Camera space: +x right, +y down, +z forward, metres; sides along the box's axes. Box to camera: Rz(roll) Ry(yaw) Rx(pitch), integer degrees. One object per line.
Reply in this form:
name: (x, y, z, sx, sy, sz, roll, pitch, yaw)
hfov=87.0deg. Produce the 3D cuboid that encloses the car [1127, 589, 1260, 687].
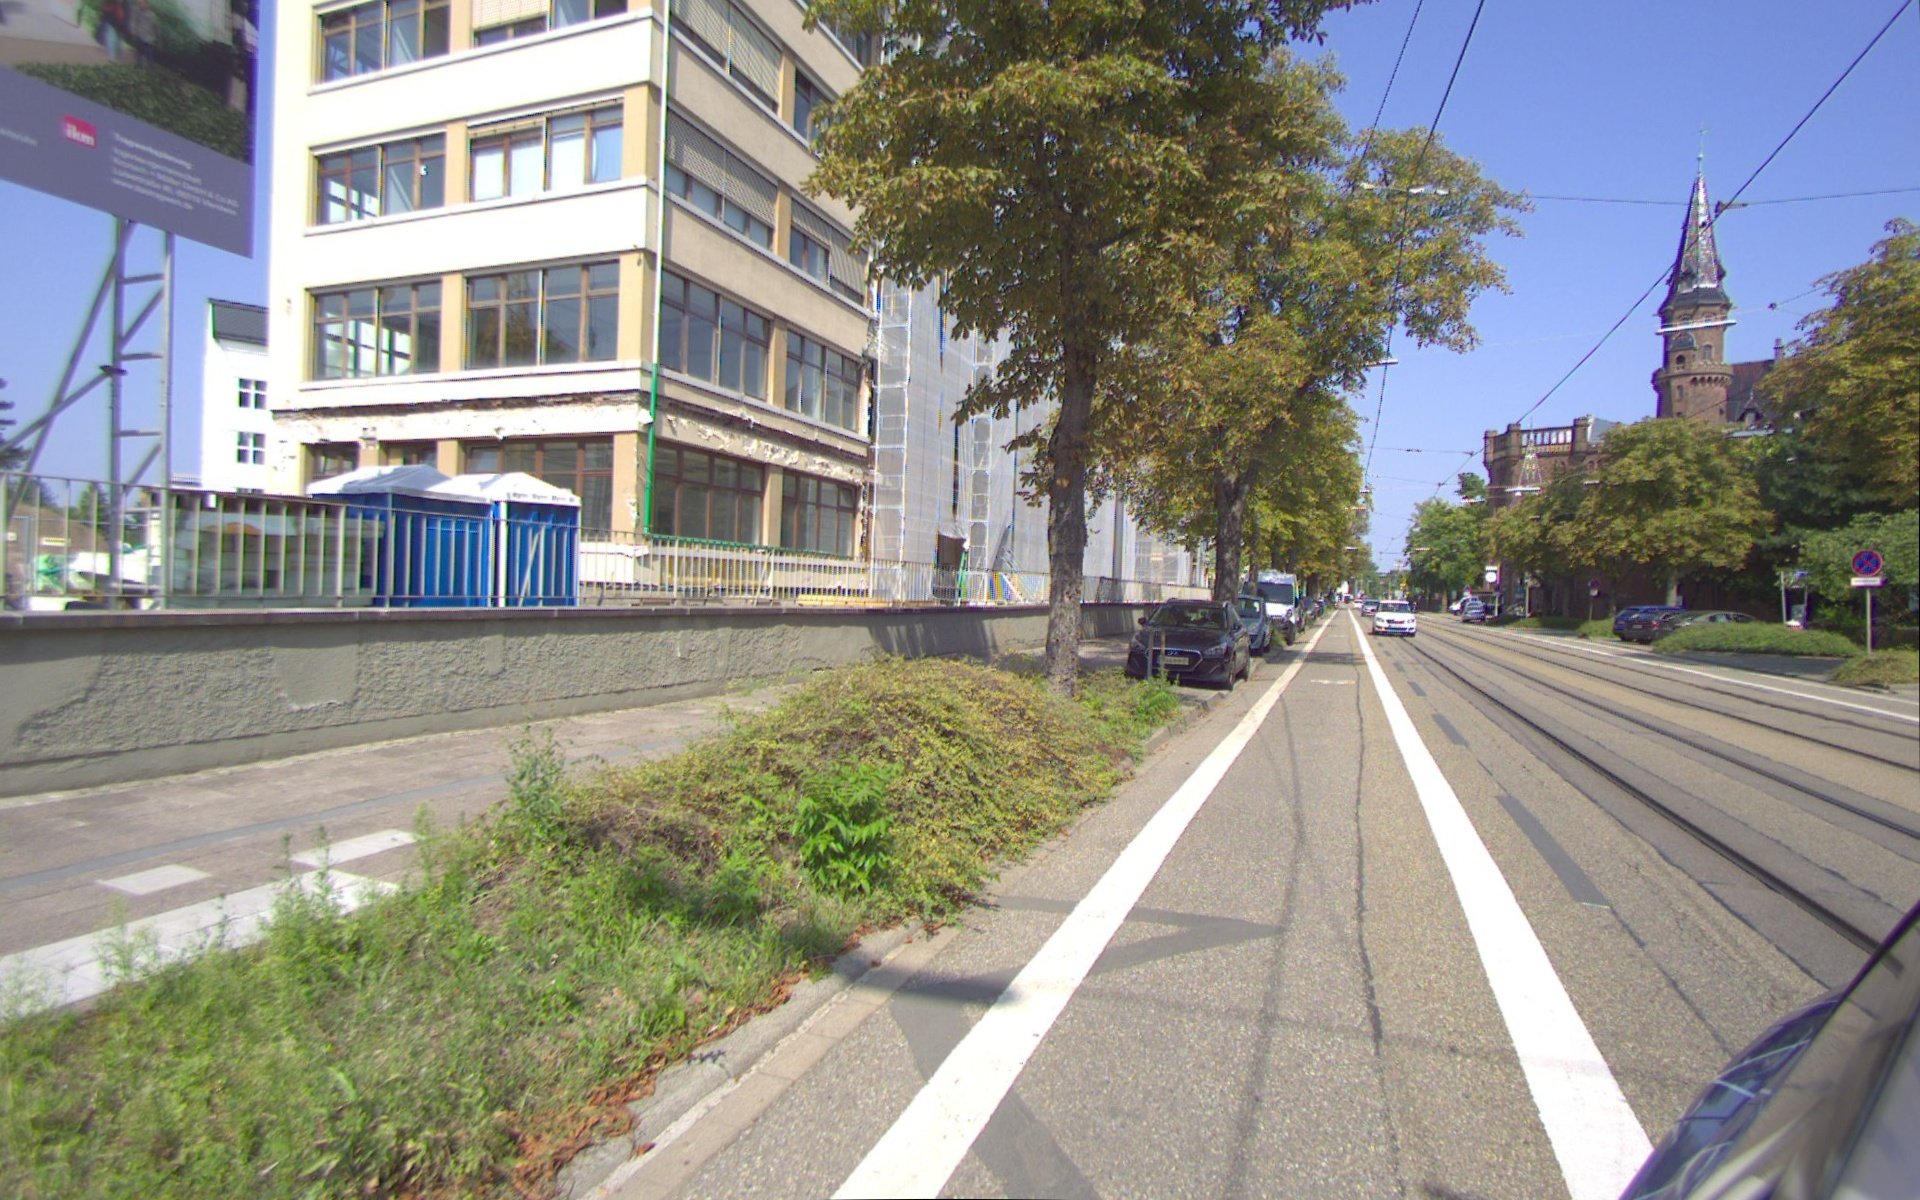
car: (4.402, 0.588, 18.538, 1.660, 1.476, 4.629, 3, 1, 22)

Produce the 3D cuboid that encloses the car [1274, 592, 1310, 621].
car: (18.400, 0.329, 56.053, 1.671, 1.519, 4.103, 2, 1, 21)

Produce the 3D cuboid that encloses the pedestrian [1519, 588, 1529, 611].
pedestrian: (49.013, -0.031, 87.929, 0.508, 2.005, 0.506, 1, 1, -24)

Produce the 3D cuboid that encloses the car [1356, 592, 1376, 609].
car: (39.107, 0.062, 97.489, 1.659, 1.504, 3.751, 2, 2, 22)

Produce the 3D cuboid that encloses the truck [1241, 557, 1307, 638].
truck: (11.358, -0.125, 36.404, 1.900, 2.631, 5.554, 1, 1, 20)

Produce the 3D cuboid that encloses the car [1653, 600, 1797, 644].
car: (29.116, 0.810, 38.589, 4.211, 1.516, 1.782, 1, 0, -4)

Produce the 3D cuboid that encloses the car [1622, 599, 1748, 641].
car: (29.750, 0.793, 41.581, 3.920, 1.589, 1.782, 1, 0, -4)

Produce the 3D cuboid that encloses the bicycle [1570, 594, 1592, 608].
bicycle: (49.926, 0.058, 81.394, 1.427, 1.075, 0.376, -3, -1, 13)

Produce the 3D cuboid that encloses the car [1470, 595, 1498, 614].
car: (45.856, 0.386, 88.625, 1.921, 1.521, 4.477, 2, 1, 24)

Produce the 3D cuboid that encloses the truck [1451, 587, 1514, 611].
truck: (63.129, -0.098, 122.392, 6.440, 2.557, 2.299, -3, -1, 23)

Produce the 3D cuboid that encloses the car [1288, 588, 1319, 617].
car: (22.264, 0.140, 65.456, 1.746, 1.709, 4.617, 2, 1, 21)

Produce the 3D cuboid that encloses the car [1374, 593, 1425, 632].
car: (18.644, 0.483, 43.091, 1.804, 1.511, 3.990, 2, 1, 22)

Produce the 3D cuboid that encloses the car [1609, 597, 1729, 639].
car: (31.157, 0.773, 44.558, 3.923, 1.669, 1.842, 1, 0, 0)

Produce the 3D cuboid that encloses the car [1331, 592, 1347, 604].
car: (52.179, -0.278, 139.337, 1.977, 1.549, 3.970, 2, 1, 22)

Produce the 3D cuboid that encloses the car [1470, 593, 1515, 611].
car: (61.347, 0.257, 116.684, 4.363, 1.821, 1.983, -3, -1, 25)

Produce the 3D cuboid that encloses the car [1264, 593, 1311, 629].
car: (14.978, 0.460, 46.104, 1.671, 1.458, 4.768, 2, 1, 22)

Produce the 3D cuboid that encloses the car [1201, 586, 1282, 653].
car: (7.797, 0.467, 27.808, 1.660, 1.599, 4.141, 4, 2, 22)
